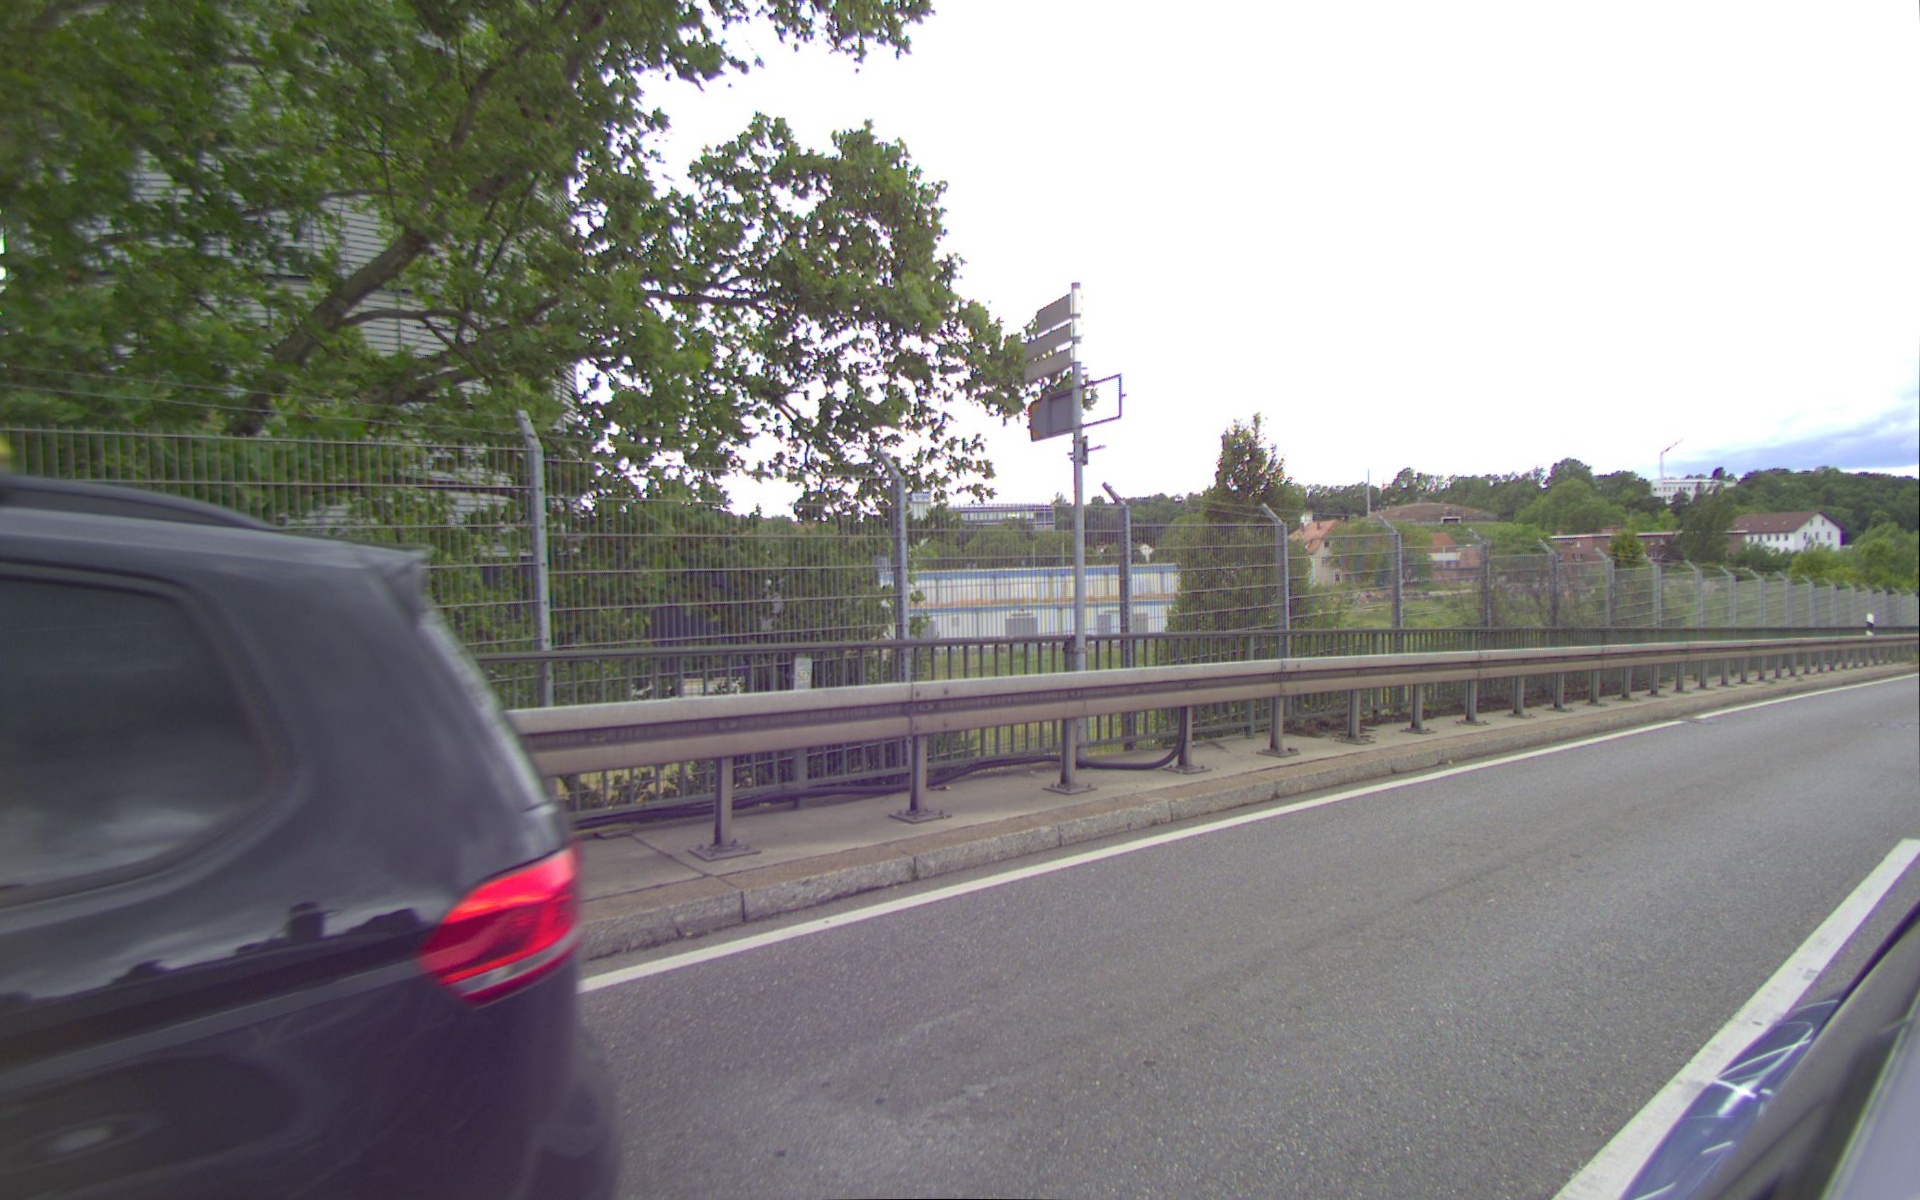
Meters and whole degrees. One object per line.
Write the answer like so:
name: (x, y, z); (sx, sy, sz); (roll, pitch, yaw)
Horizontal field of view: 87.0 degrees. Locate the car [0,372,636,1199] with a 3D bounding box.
car: (-2.603, 0.603, 0.865); (4.079, 1.674, 1.799); (-1, 0, -42)
